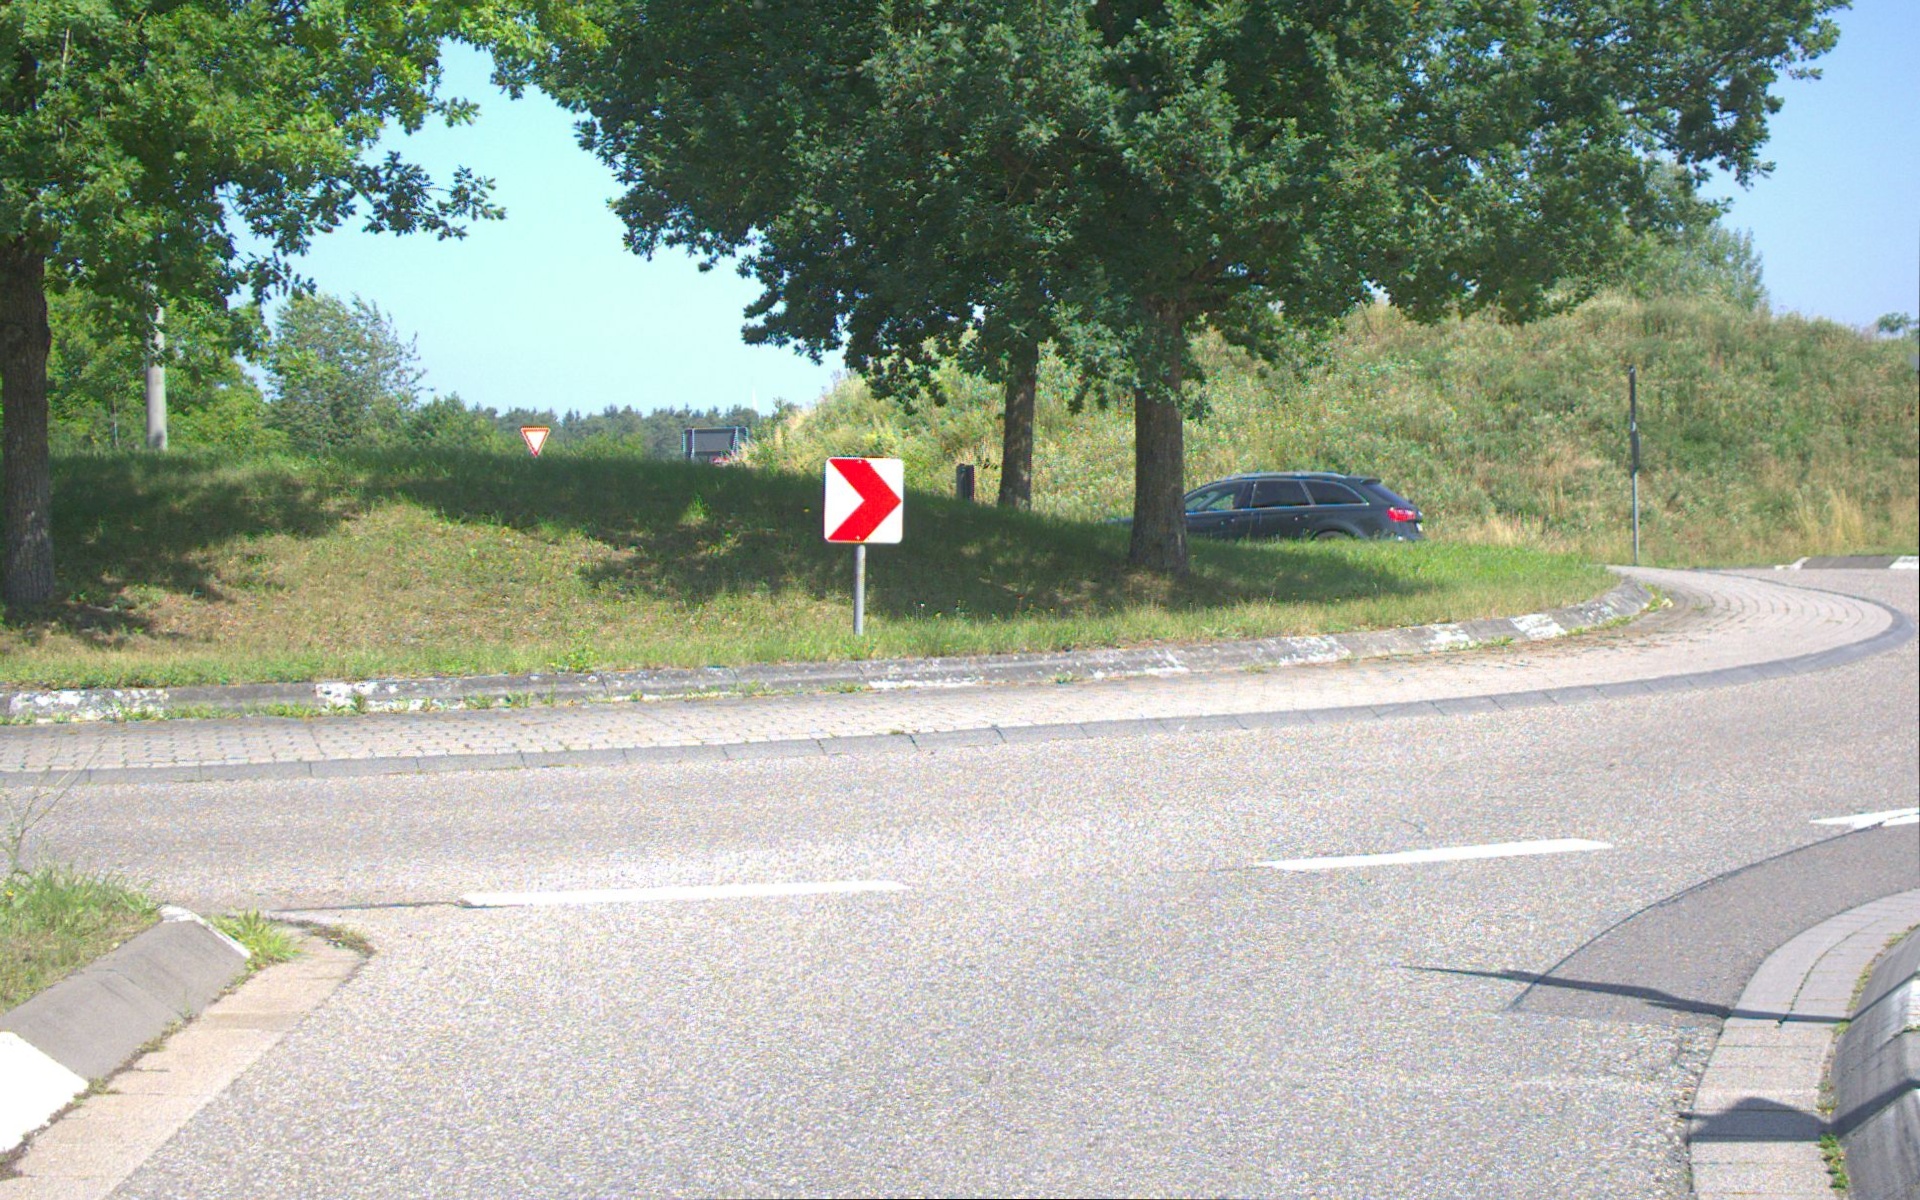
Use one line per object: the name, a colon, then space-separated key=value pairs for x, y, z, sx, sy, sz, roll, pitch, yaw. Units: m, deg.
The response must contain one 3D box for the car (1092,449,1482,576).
car: x=4.281 y=-1.144 z=44.838 sx=4.763 sy=1.587 sz=1.999 roll=0 pitch=2 yaw=17
